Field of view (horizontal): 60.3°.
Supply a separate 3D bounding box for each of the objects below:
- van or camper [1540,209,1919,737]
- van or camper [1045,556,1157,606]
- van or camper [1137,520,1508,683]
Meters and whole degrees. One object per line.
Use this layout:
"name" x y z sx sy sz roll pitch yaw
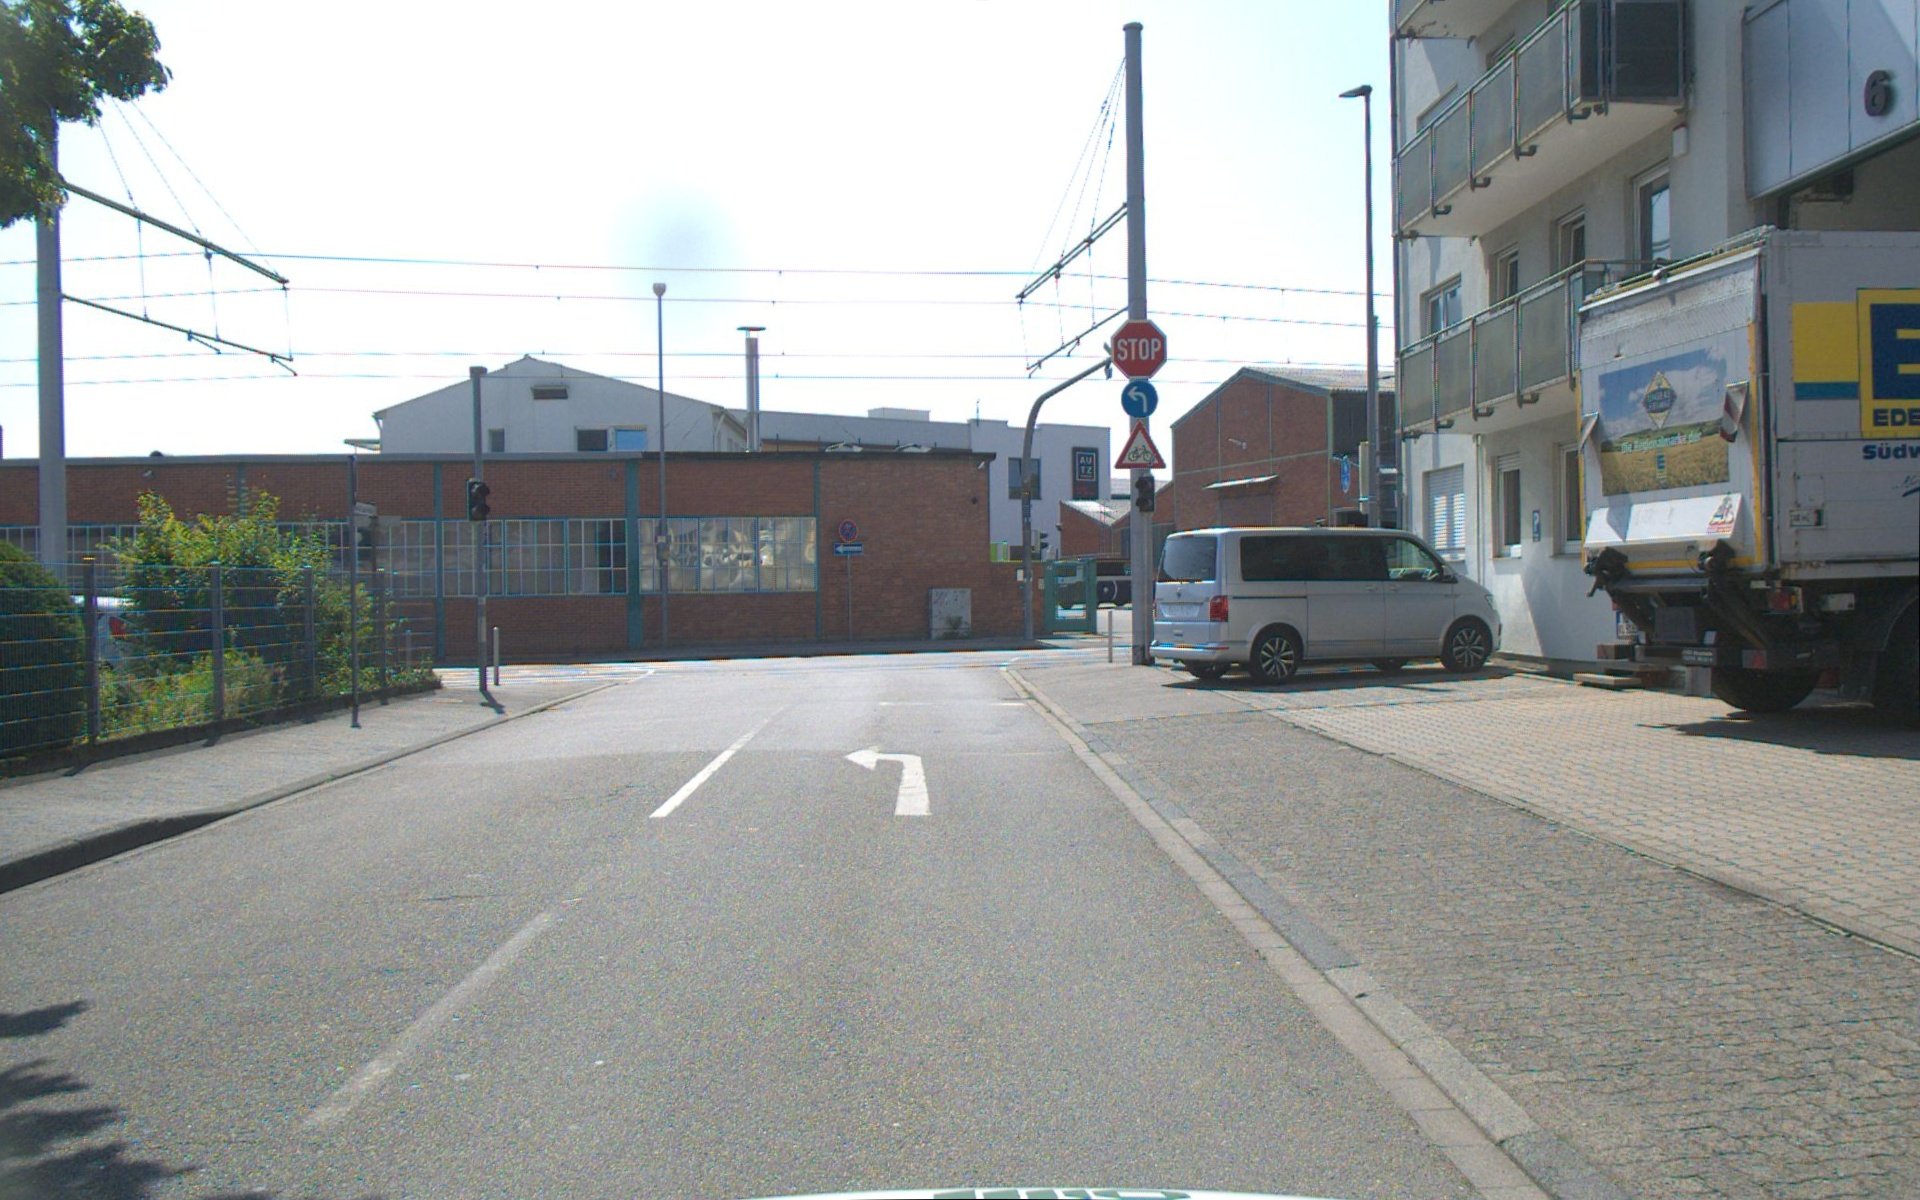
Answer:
"van or camper" 10.992 -1.180 14.230 11.392 3.757 2.774 -3 1 -11
"van or camper" 5.755 -0.765 67.312 4.376 1.933 1.973 1 0 -38
"van or camper" 4.793 -0.033 21.912 4.478 1.941 1.987 -2 1 -22
